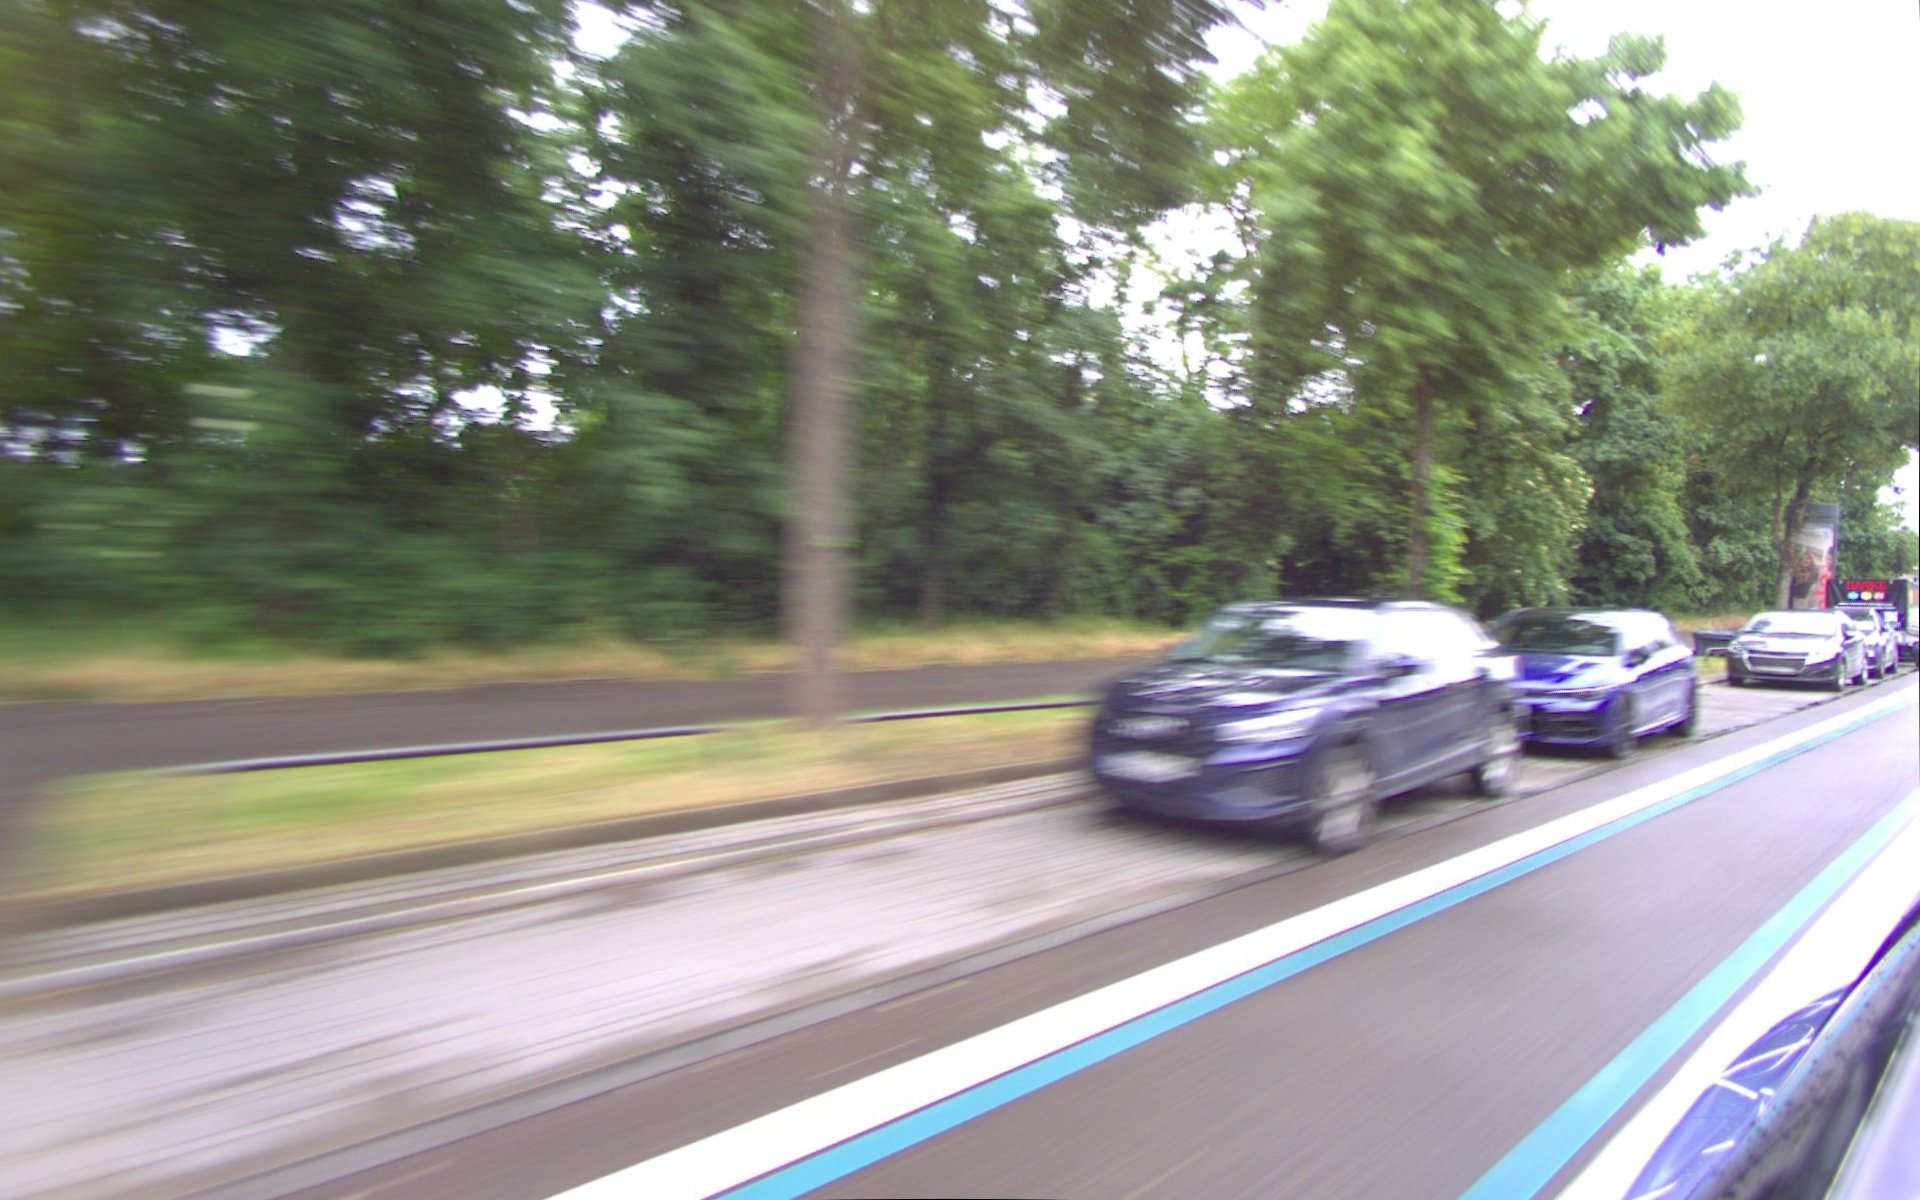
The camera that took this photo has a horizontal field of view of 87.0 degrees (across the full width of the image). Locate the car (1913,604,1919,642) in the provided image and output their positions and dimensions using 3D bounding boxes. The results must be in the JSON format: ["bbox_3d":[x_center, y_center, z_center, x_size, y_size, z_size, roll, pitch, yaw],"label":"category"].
[{"bbox_3d":[39.418,0.890,40.409,3.833,1.484,1.661,0,-1,-42],"label":"car"}]

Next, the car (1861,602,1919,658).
[{"bbox_3d":[27.623,0.830,29.427,4.131,1.504,1.823,0,-1,-44],"label":"car"}]

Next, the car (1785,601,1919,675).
[{"bbox_3d":[20.385,0.798,23.052,4.352,1.468,1.798,0,1,-42],"label":"car"}]

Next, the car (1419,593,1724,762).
[{"bbox_3d":[6.834,0.700,11.114,4.243,1.500,1.684,1,0,-42],"label":"car"}]

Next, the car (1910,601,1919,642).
[{"bbox_3d":[36.406,0.773,37.533,1.618,1.485,3.936,0,0,45],"label":"car"}]

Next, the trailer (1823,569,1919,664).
[{"bbox_3d":[24.120,0.382,26.329,4.685,2.276,1.909,0,1,-42],"label":"trailer"}]

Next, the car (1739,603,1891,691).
[{"bbox_3d":[16.337,0.819,19.288,3.930,1.489,1.618,0,0,-41],"label":"car"}]

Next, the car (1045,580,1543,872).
[{"bbox_3d":[2.580,0.660,7.314,3.908,1.532,1.716,0,1,-42],"label":"car"}]

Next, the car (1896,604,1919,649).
[{"bbox_3d":[32.252,0.849,33.424,4.373,1.411,1.752,0,0,-45],"label":"car"}]
